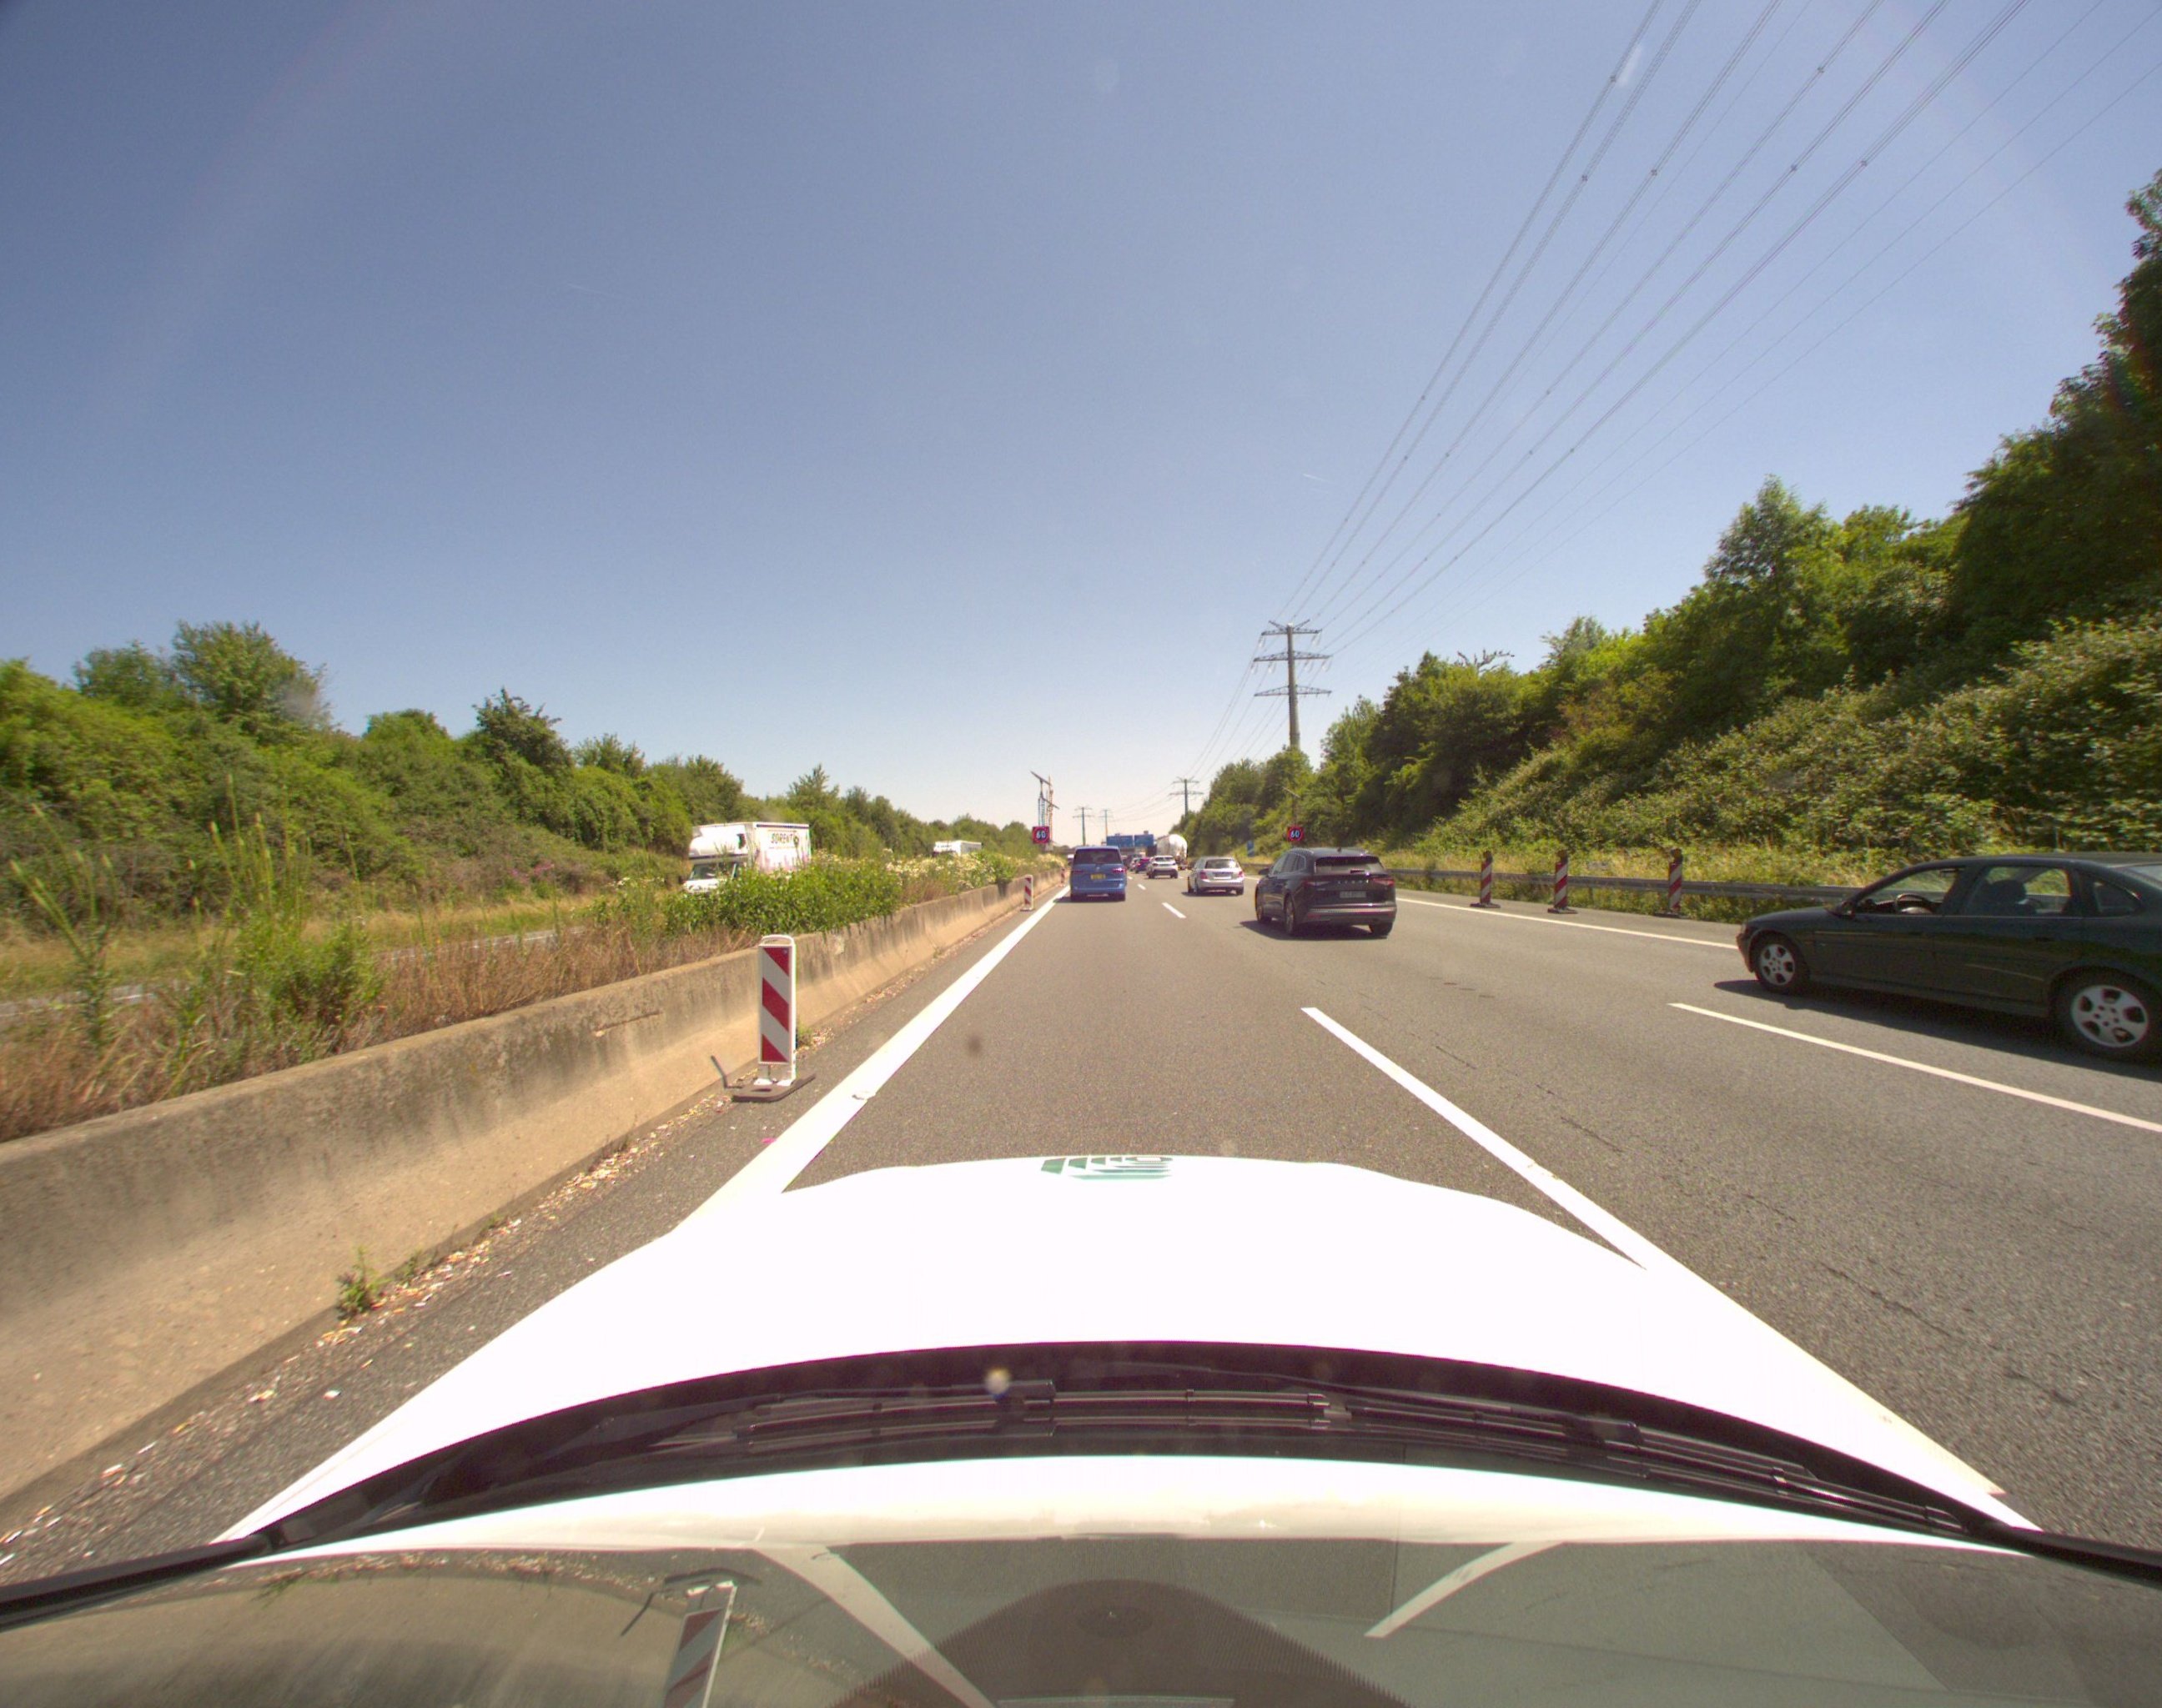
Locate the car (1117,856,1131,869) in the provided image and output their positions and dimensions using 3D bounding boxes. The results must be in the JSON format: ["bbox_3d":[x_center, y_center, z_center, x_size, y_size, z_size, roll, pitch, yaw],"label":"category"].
[{"bbox_3d":[6.587,1.326,125.449,1.987,2.014,4.000,0,0,0],"label":"car"}]

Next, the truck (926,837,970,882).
[{"bbox_3d":[-13.432,0.534,82.665,3.006,4.166,5.807,-5,0,1],"label":"truck"}]

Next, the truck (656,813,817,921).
[{"bbox_3d":[-14.539,0.520,35.448,2.753,3.888,9.030,-5,0,1],"label":"truck"}]

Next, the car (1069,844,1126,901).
[{"bbox_3d":[0.527,0.623,28.988,1.865,1.879,4.382,0,0,-1],"label":"car"}]

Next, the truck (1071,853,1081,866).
[{"bbox_3d":[-1.545,1.848,259.327,2.753,3.888,9.030,-5,0,1],"label":"truck"}]

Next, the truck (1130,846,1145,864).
[{"bbox_3d":[13.828,0.232,200.225,2.928,4.291,12.551,0,0,1],"label":"truck"}]

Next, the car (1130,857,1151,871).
[{"bbox_3d":[6.328,1.075,87.581,1.902,1.516,4.382,0,0,0],"label":"car"}]

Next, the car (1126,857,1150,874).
[{"bbox_3d":[5.262,1.050,75.253,1.902,1.516,4.382,0,0,0],"label":"car"}]

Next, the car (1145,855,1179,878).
[{"bbox_3d":[5.484,0.810,55.441,1.902,1.508,3.920,0,0,0],"label":"car"}]

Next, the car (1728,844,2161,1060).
[{"bbox_3d":[7.792,0.631,6.611,1.728,1.378,4.303,0,0,1],"label":"car"}]

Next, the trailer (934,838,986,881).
[{"bbox_3d":[-13.225,0.575,90.401,3.006,4.166,14.023,-5,0,1],"label":"trailer"}]

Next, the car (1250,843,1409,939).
[{"bbox_3d":[4.677,0.632,16.049,1.822,1.614,4.431,-1,0,1],"label":"car"}]

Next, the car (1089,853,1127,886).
[{"bbox_3d":[1.410,0.809,43.941,1.902,1.631,4.383,-1,0,0],"label":"car"}]

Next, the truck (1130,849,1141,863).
[{"bbox_3d":[17.485,0.655,262.852,2.928,4.291,12.551,0,0,1],"label":"truck"}]

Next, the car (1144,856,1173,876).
[{"bbox_3d":[6.269,0.964,66.332,1.902,1.569,4.382,0,0,0],"label":"car"}]

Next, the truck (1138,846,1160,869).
[{"bbox_3d":[10.838,0.575,130.804,2.636,3.539,12.551,0,0,1],"label":"truck"}]

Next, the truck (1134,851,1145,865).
[{"bbox_3d":[12.000,0.786,167.470,1.987,2.724,5.680,0,0,0],"label":"truck"}]

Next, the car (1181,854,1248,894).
[{"bbox_3d":[5.068,0.732,31.450,1.815,1.437,4.382,0,0,0],"label":"car"}]

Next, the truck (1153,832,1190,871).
[{"bbox_3d":[10.271,-0.224,94.109,2.636,4.072,16.440,0,0,1],"label":"truck"}]

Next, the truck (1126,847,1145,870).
[{"bbox_3d":[6.692,0.548,100.780,1.987,2.724,5.680,0,0,0],"label":"truck"}]
